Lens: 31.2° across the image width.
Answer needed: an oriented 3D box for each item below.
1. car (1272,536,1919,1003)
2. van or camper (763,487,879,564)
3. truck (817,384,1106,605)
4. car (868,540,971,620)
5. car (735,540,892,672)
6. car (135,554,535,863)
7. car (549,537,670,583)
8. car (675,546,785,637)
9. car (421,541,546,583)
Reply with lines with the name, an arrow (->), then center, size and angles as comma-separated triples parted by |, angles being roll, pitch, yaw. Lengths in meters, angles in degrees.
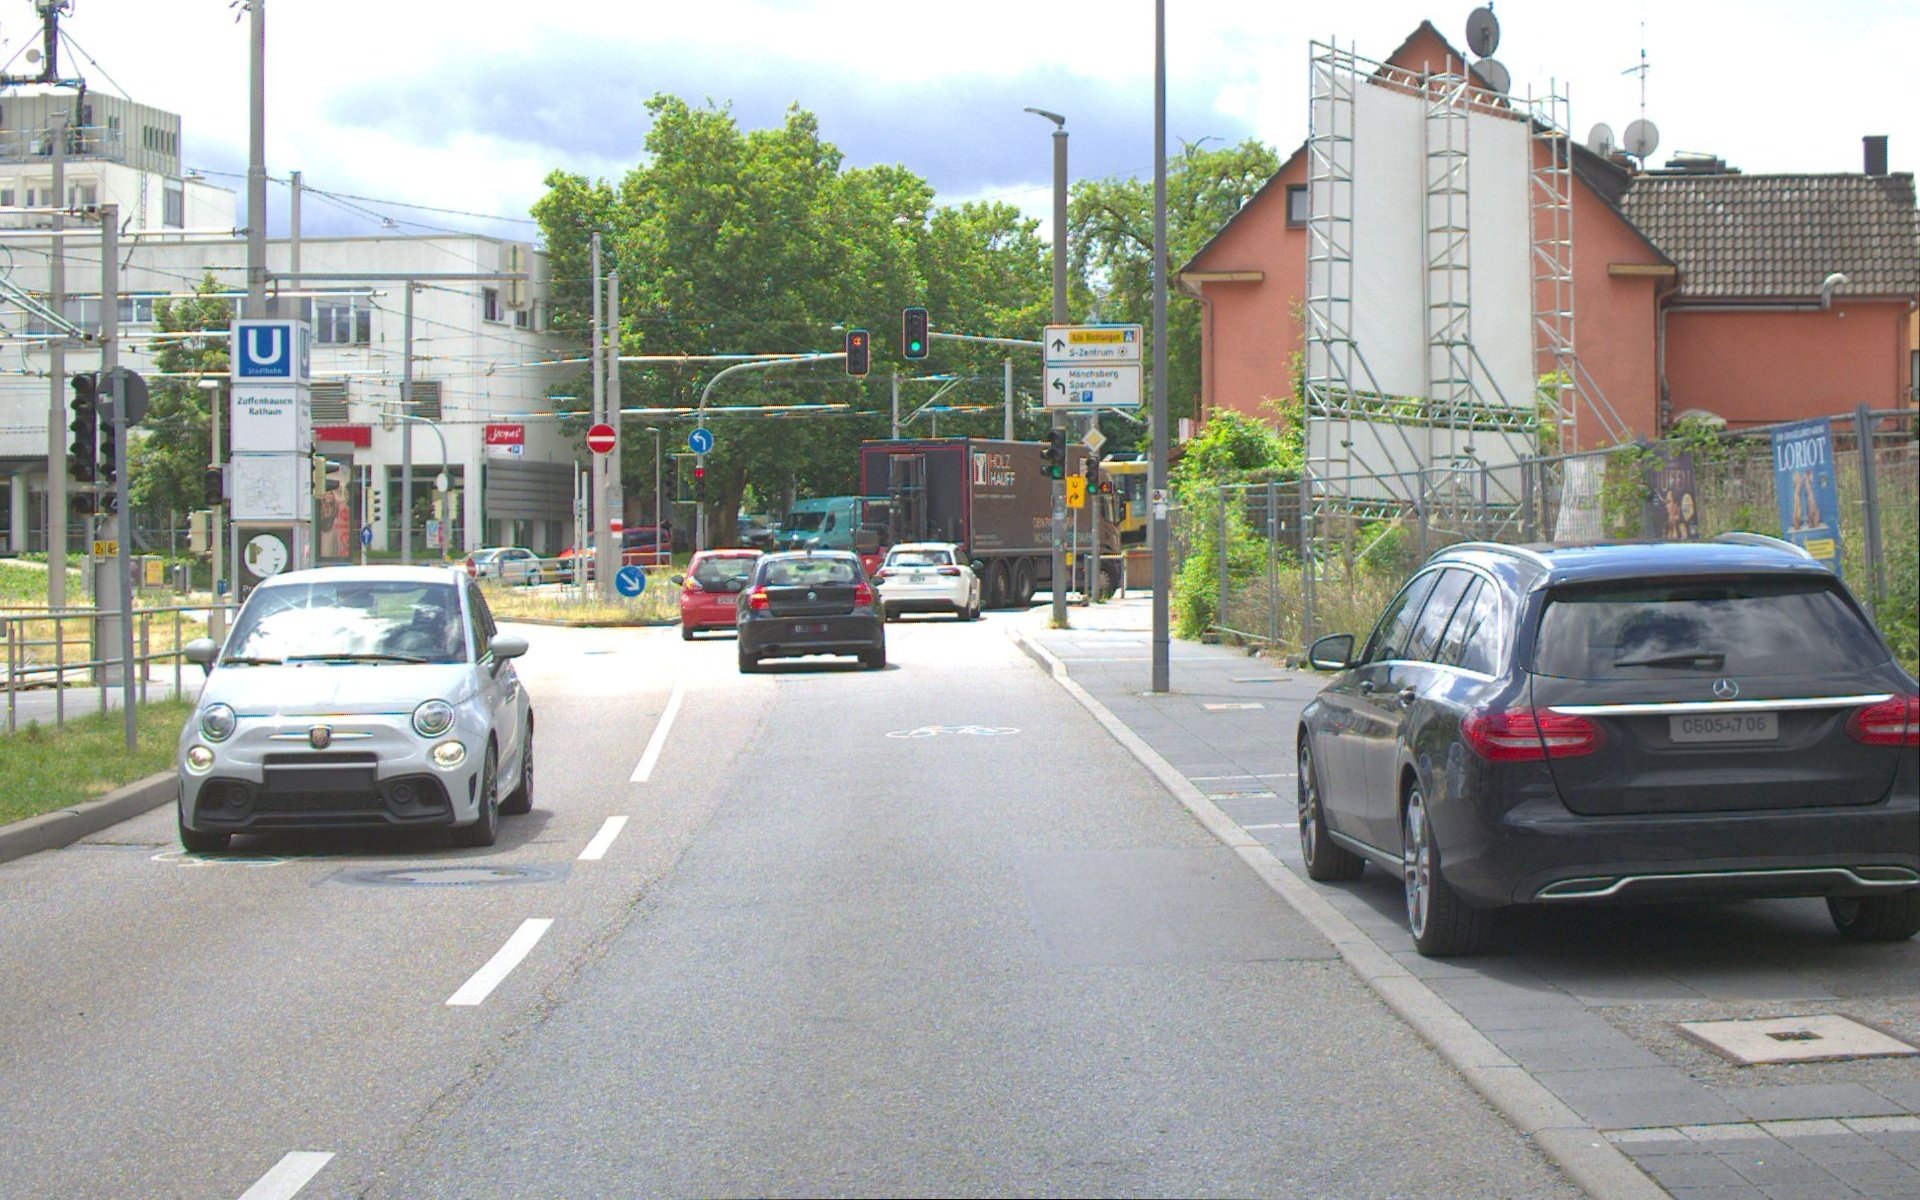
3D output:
car -> 2.397, 0.503, 13.301 | 1.782, 1.447, 4.476 | -2, 1, -2
van or camper -> -5.487, -2.953, 137.016 | 2.178, 2.796, 6.062 | 1, -1, 23
truck -> 0.182, -2.219, 76.686 | 3.207, 4.520, 9.017 | 1, 0, 22
car -> -0.750, -0.375, 65.881 | 1.888, 1.460, 4.069 | -1, 0, 0
car -> -1.790, 0.034, 41.080 | 1.726, 1.451, 3.809 | -1, 1, -4
car -> -3.400, 0.519, 19.359 | 1.770, 1.503, 4.001 | -1, 1, -4
car -> -12.638, -1.453, 124.080 | 1.998, 1.595, 4.190 | 1, 2, 38
car -> -3.771, -0.162, 56.249 | 1.711, 1.388, 3.809 | -1, 1, -4
car -> -16.454, -1.318, 118.901 | 1.998, 1.459, 3.991 | 1, 1, 39
